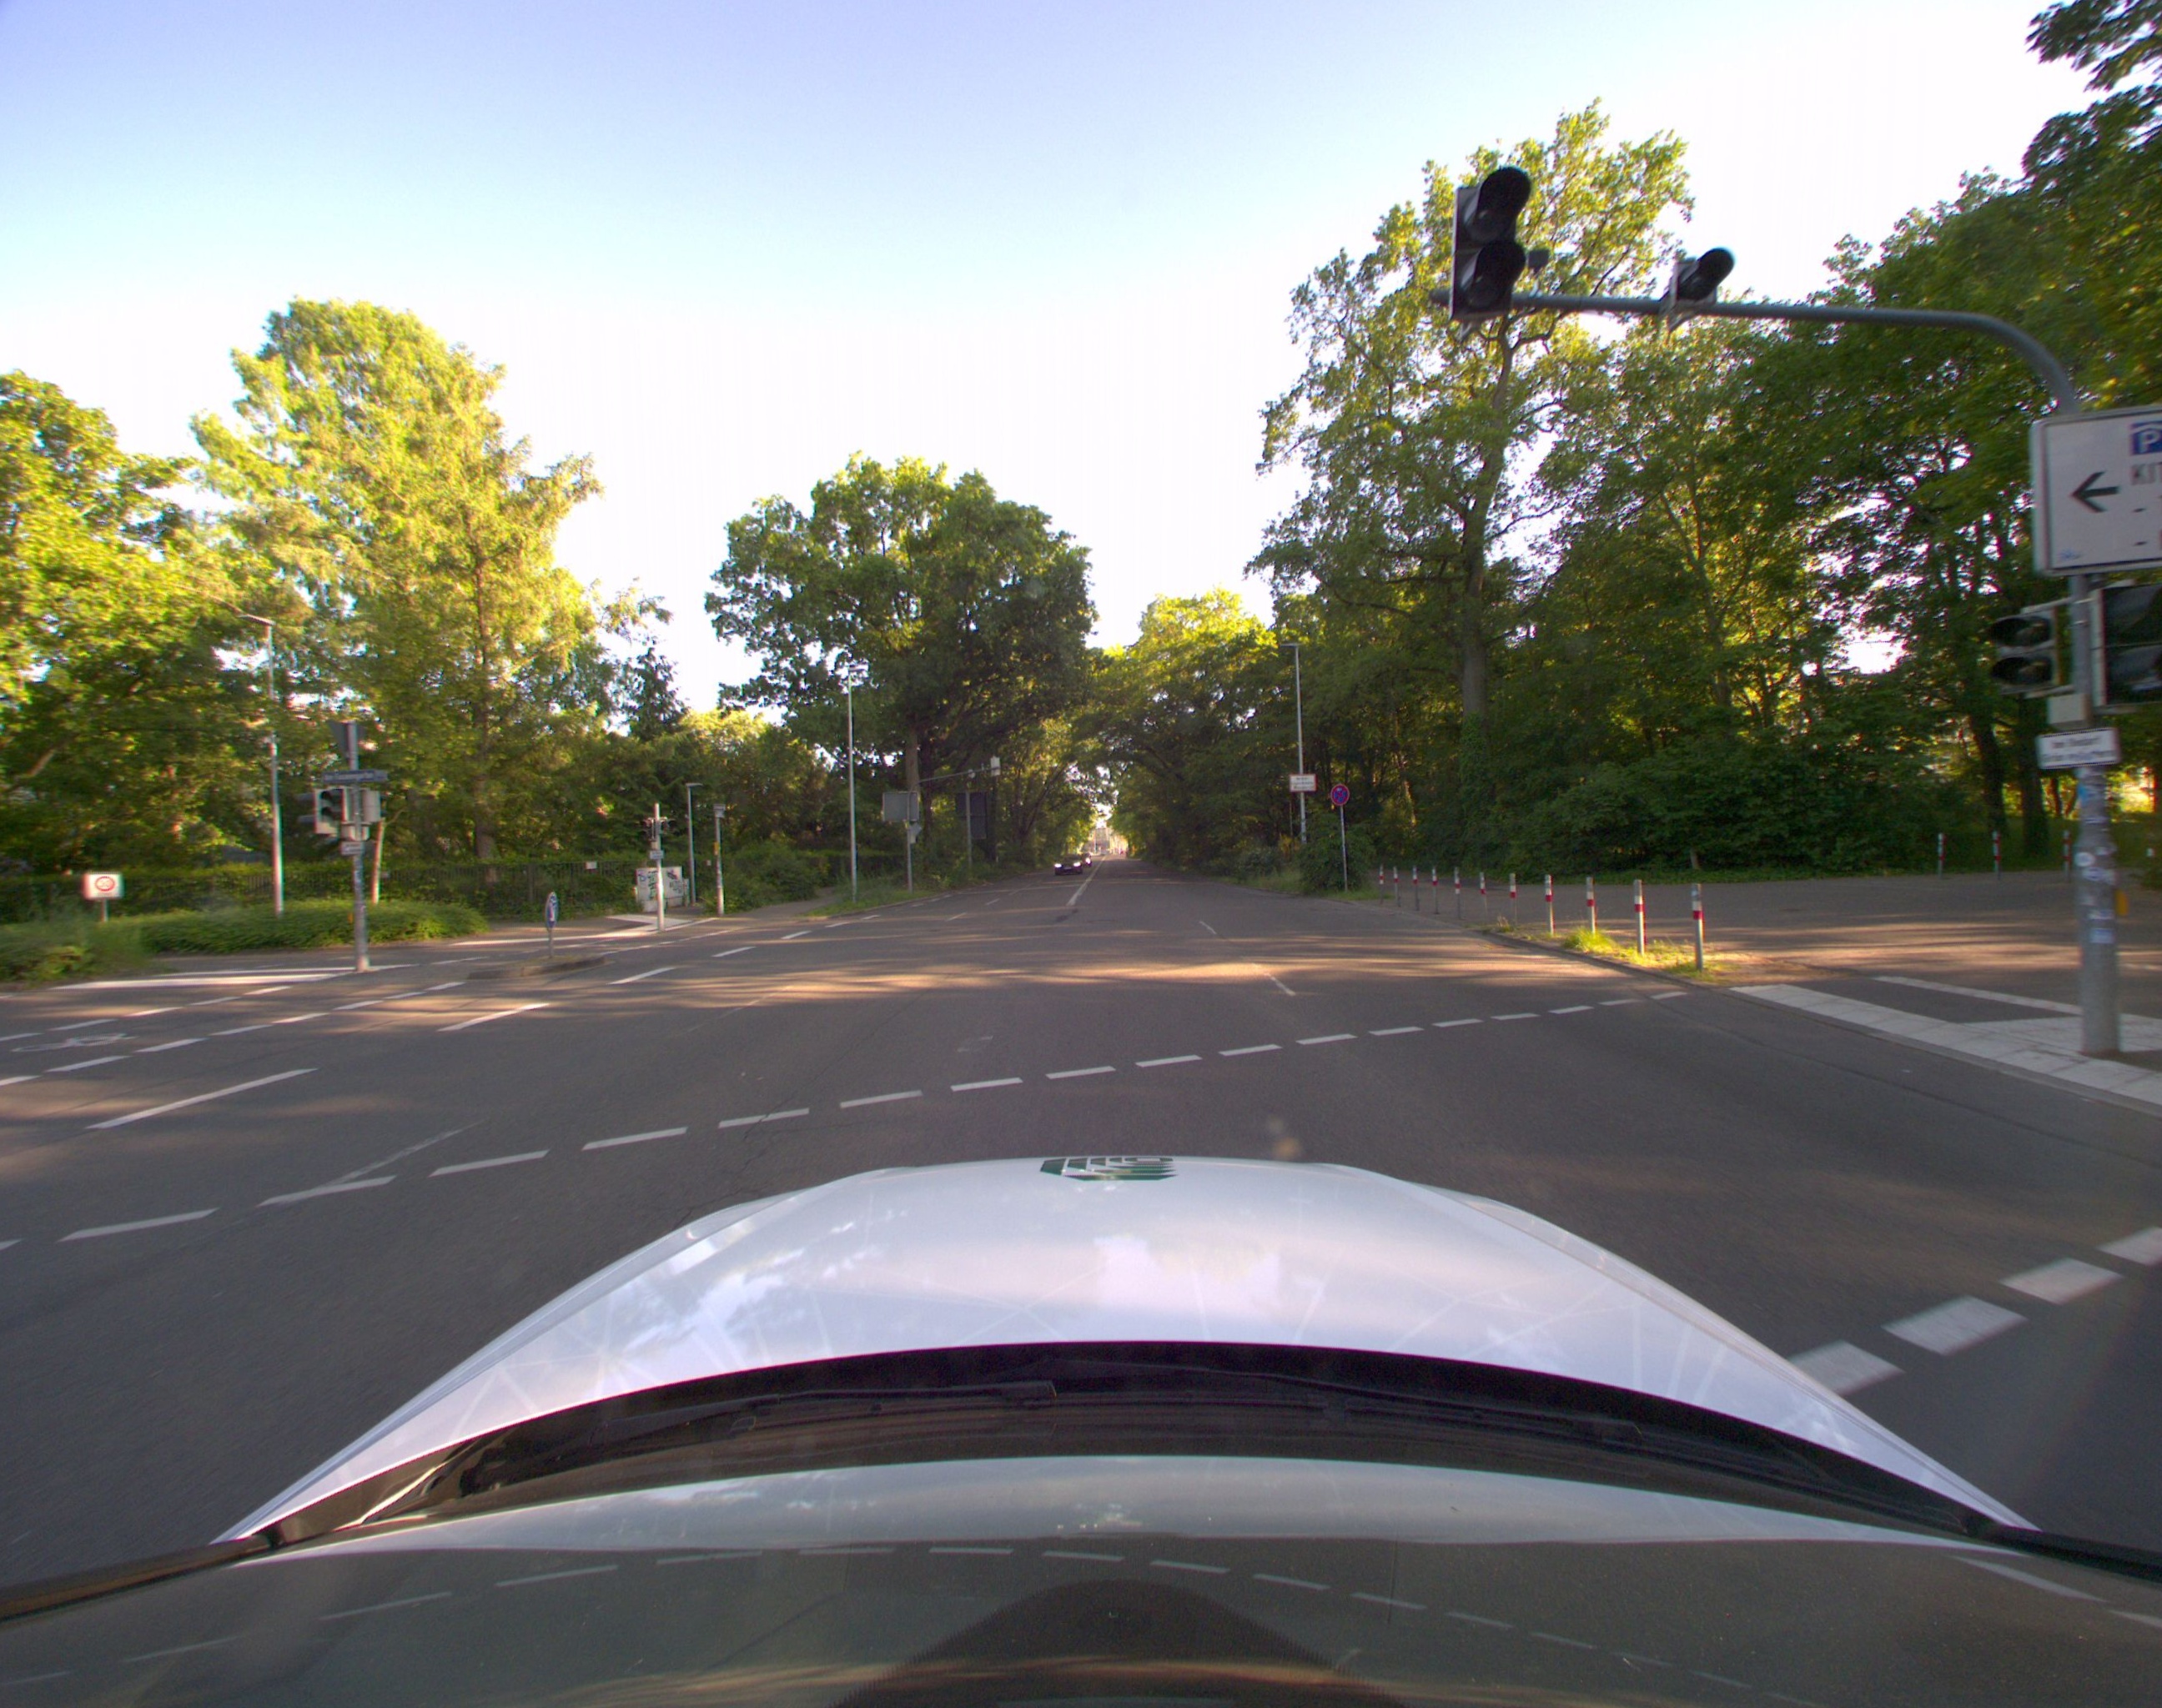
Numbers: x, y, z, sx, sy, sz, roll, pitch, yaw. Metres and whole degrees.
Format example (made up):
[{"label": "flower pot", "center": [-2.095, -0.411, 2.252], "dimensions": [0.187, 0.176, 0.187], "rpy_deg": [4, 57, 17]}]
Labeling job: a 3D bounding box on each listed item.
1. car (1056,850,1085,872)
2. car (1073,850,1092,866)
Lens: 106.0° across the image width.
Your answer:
[{"label": "car", "center": [-0.730, 0.503, 59.638], "dimensions": [1.881, 1.506, 4.365], "rpy_deg": [-3, 0, 1]}, {"label": "car", "center": [0.202, 0.396, 83.811], "dimensions": [1.791, 1.506, 4.365], "rpy_deg": [-3, 0, 1]}]
